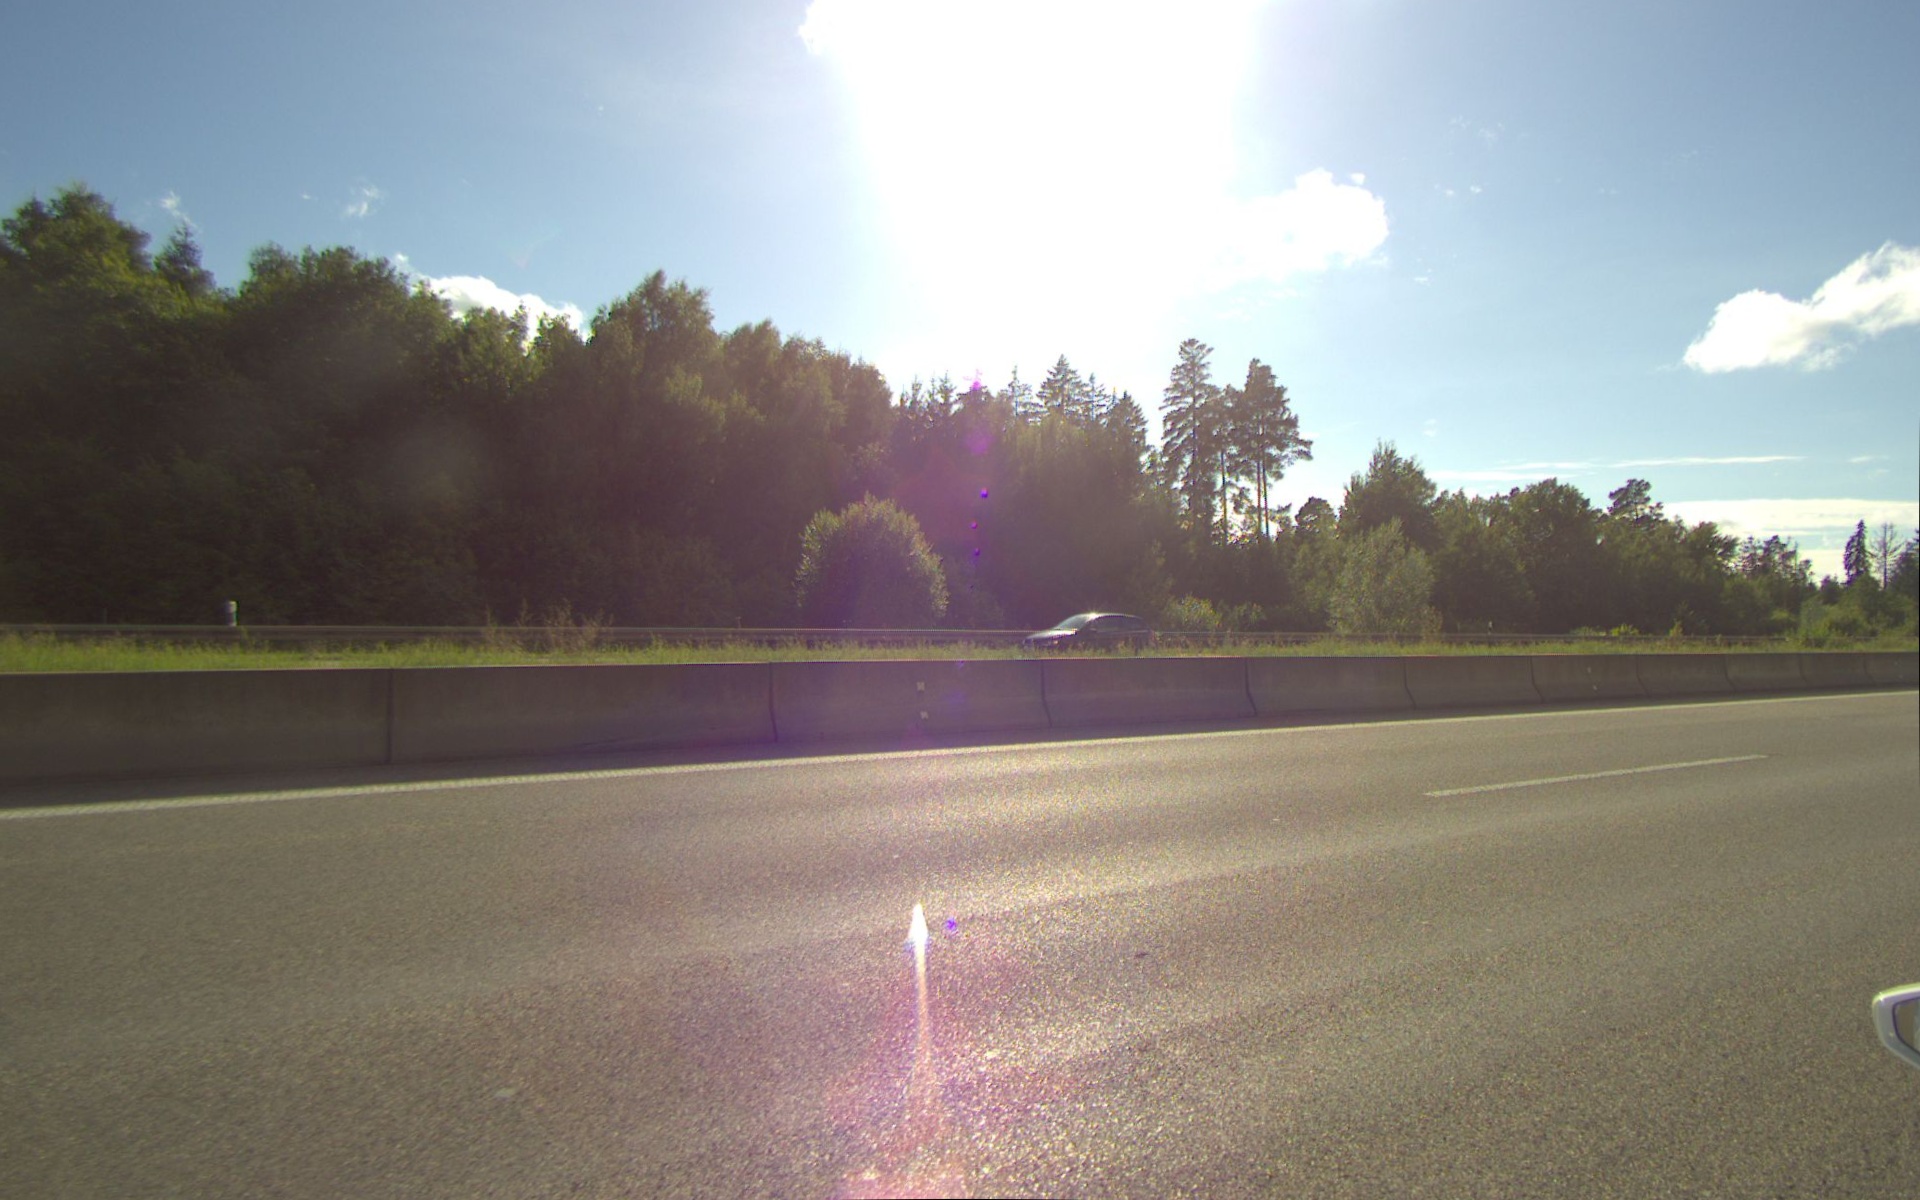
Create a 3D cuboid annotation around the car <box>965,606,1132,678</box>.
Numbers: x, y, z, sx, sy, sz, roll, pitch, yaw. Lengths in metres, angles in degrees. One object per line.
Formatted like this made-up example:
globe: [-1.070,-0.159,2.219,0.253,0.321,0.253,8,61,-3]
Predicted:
car: [2.371,1.082,26.730,4.002,1.770,1.984,1,0,-30]
